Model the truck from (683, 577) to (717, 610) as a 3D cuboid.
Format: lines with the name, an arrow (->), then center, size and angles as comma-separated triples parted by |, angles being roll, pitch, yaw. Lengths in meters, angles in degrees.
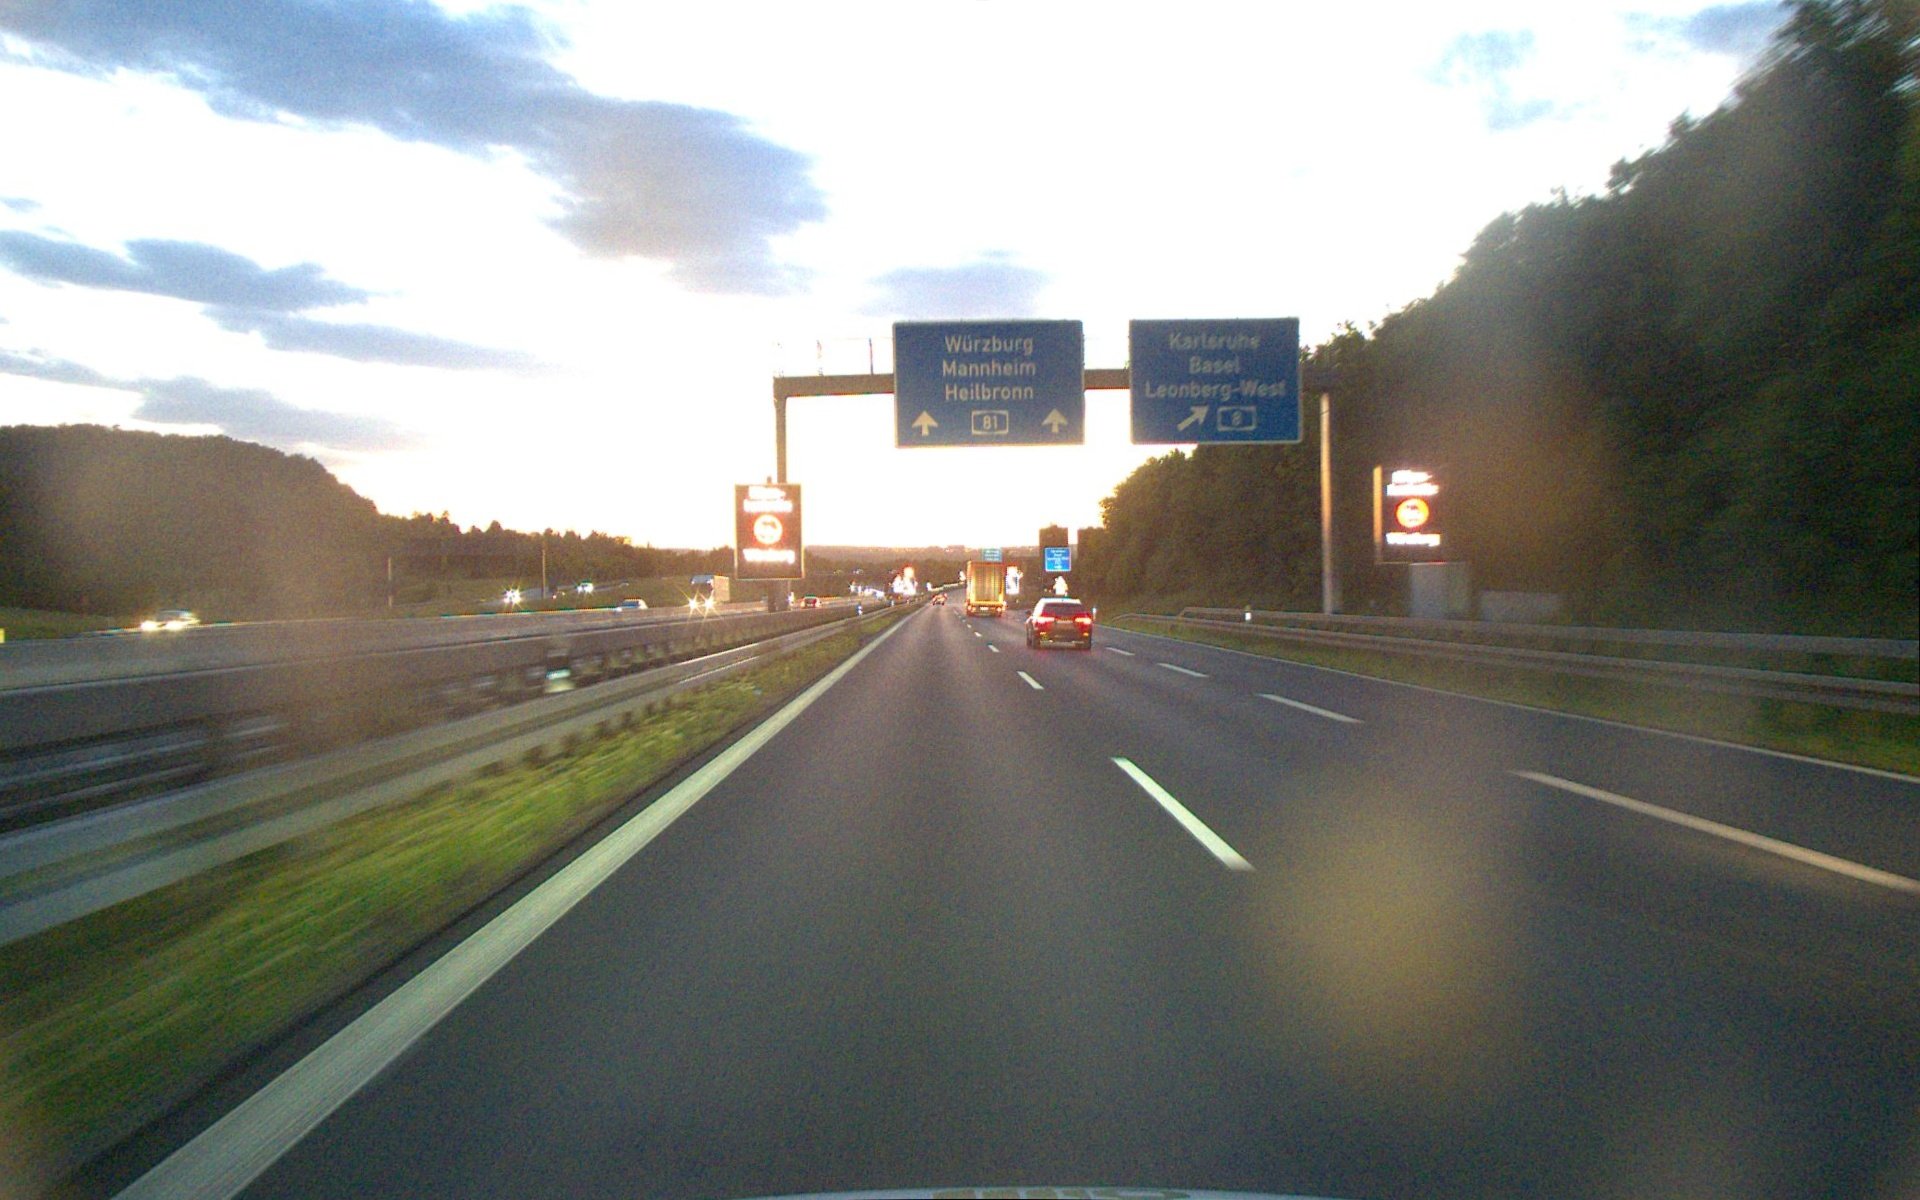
truck -> -30.802, -0.759, 195.999 | 3.243, 3.682, 5.496 | -1, 0, -1

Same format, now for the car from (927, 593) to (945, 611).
car -> -2.799, 0.194, 193.483 | 1.953, 2.049, 3.999 | -1, 0, -1

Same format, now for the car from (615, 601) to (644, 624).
car -> -26.456, 0.990, 132.424 | 1.648, 1.736, 3.751 | 0, 0, -1

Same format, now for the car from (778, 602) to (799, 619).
car -> -16.252, 1.024, 156.943 | 1.604, 1.573, 3.394 | -1, 0, -1

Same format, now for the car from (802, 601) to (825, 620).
car -> -12.858, 0.929, 145.381 | 1.678, 1.634, 3.721 | -1, 0, -1

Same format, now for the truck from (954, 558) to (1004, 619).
truck -> 1.360, -0.824, 126.576 | 3.439, 4.376, 9.888 | -1, 0, -1

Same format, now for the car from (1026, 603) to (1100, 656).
car -> 3.032, 0.839, 49.261 | 1.876, 1.467, 3.999 | -1, 0, -1

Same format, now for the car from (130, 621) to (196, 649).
car -> -42.191, 1.842, 87.632 | 1.732, 1.342, 3.891 | -1, 0, -3
